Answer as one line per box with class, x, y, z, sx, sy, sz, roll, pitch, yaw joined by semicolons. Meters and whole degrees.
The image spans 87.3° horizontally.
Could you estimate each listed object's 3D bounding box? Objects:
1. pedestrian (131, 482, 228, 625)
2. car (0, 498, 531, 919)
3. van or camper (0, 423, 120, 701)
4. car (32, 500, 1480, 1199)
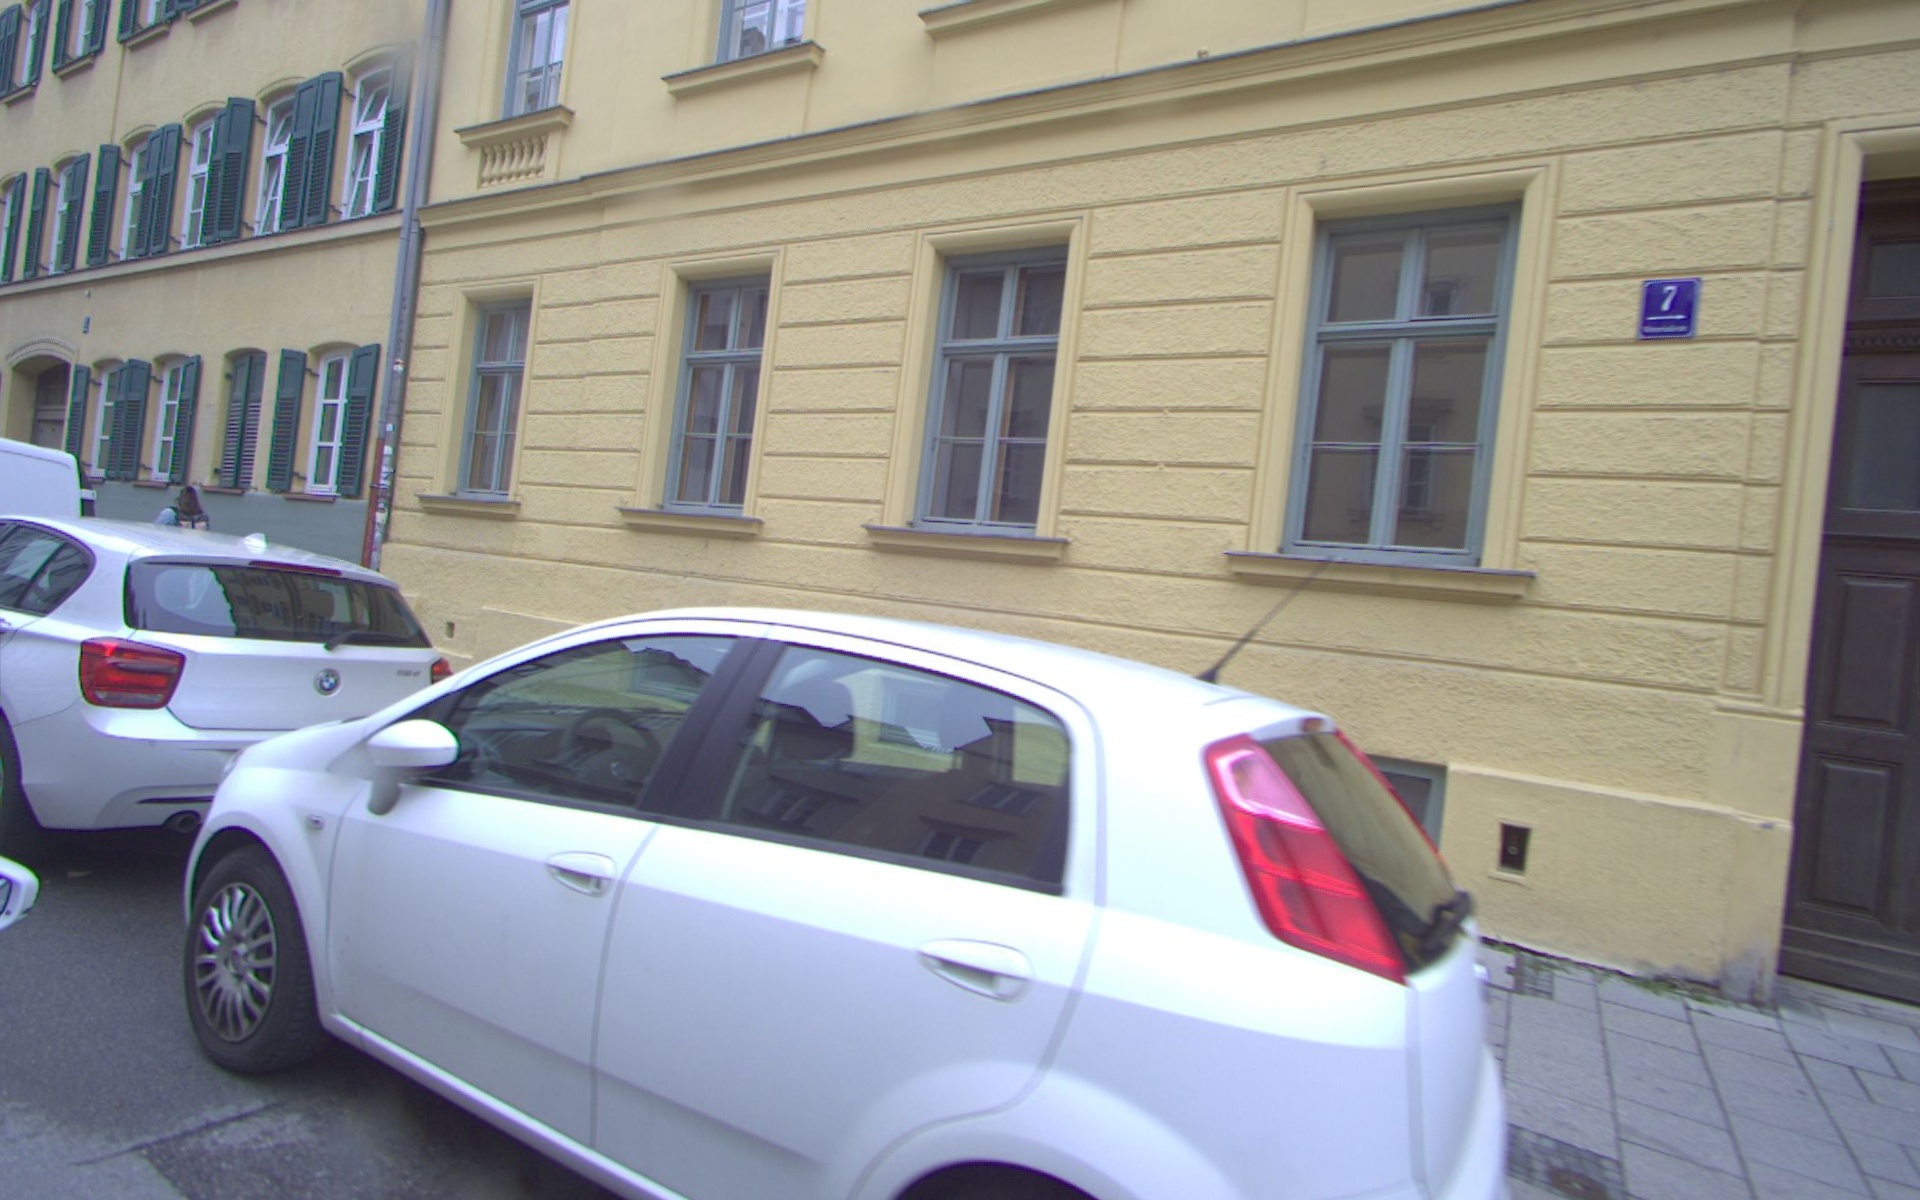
pedestrian;-9.087;-0.532;11.719;0.631;1.593;0.660;6;3;31
car;-4.417;0.265;5.272;4.134;1.409;1.711;7;0;29
van or camper;-8.855;-0.538;7.893;4.994;1.894;1.836;7;0;31
car;-0.784;0.685;3.043;4.026;1.472;1.711;7;0;29
